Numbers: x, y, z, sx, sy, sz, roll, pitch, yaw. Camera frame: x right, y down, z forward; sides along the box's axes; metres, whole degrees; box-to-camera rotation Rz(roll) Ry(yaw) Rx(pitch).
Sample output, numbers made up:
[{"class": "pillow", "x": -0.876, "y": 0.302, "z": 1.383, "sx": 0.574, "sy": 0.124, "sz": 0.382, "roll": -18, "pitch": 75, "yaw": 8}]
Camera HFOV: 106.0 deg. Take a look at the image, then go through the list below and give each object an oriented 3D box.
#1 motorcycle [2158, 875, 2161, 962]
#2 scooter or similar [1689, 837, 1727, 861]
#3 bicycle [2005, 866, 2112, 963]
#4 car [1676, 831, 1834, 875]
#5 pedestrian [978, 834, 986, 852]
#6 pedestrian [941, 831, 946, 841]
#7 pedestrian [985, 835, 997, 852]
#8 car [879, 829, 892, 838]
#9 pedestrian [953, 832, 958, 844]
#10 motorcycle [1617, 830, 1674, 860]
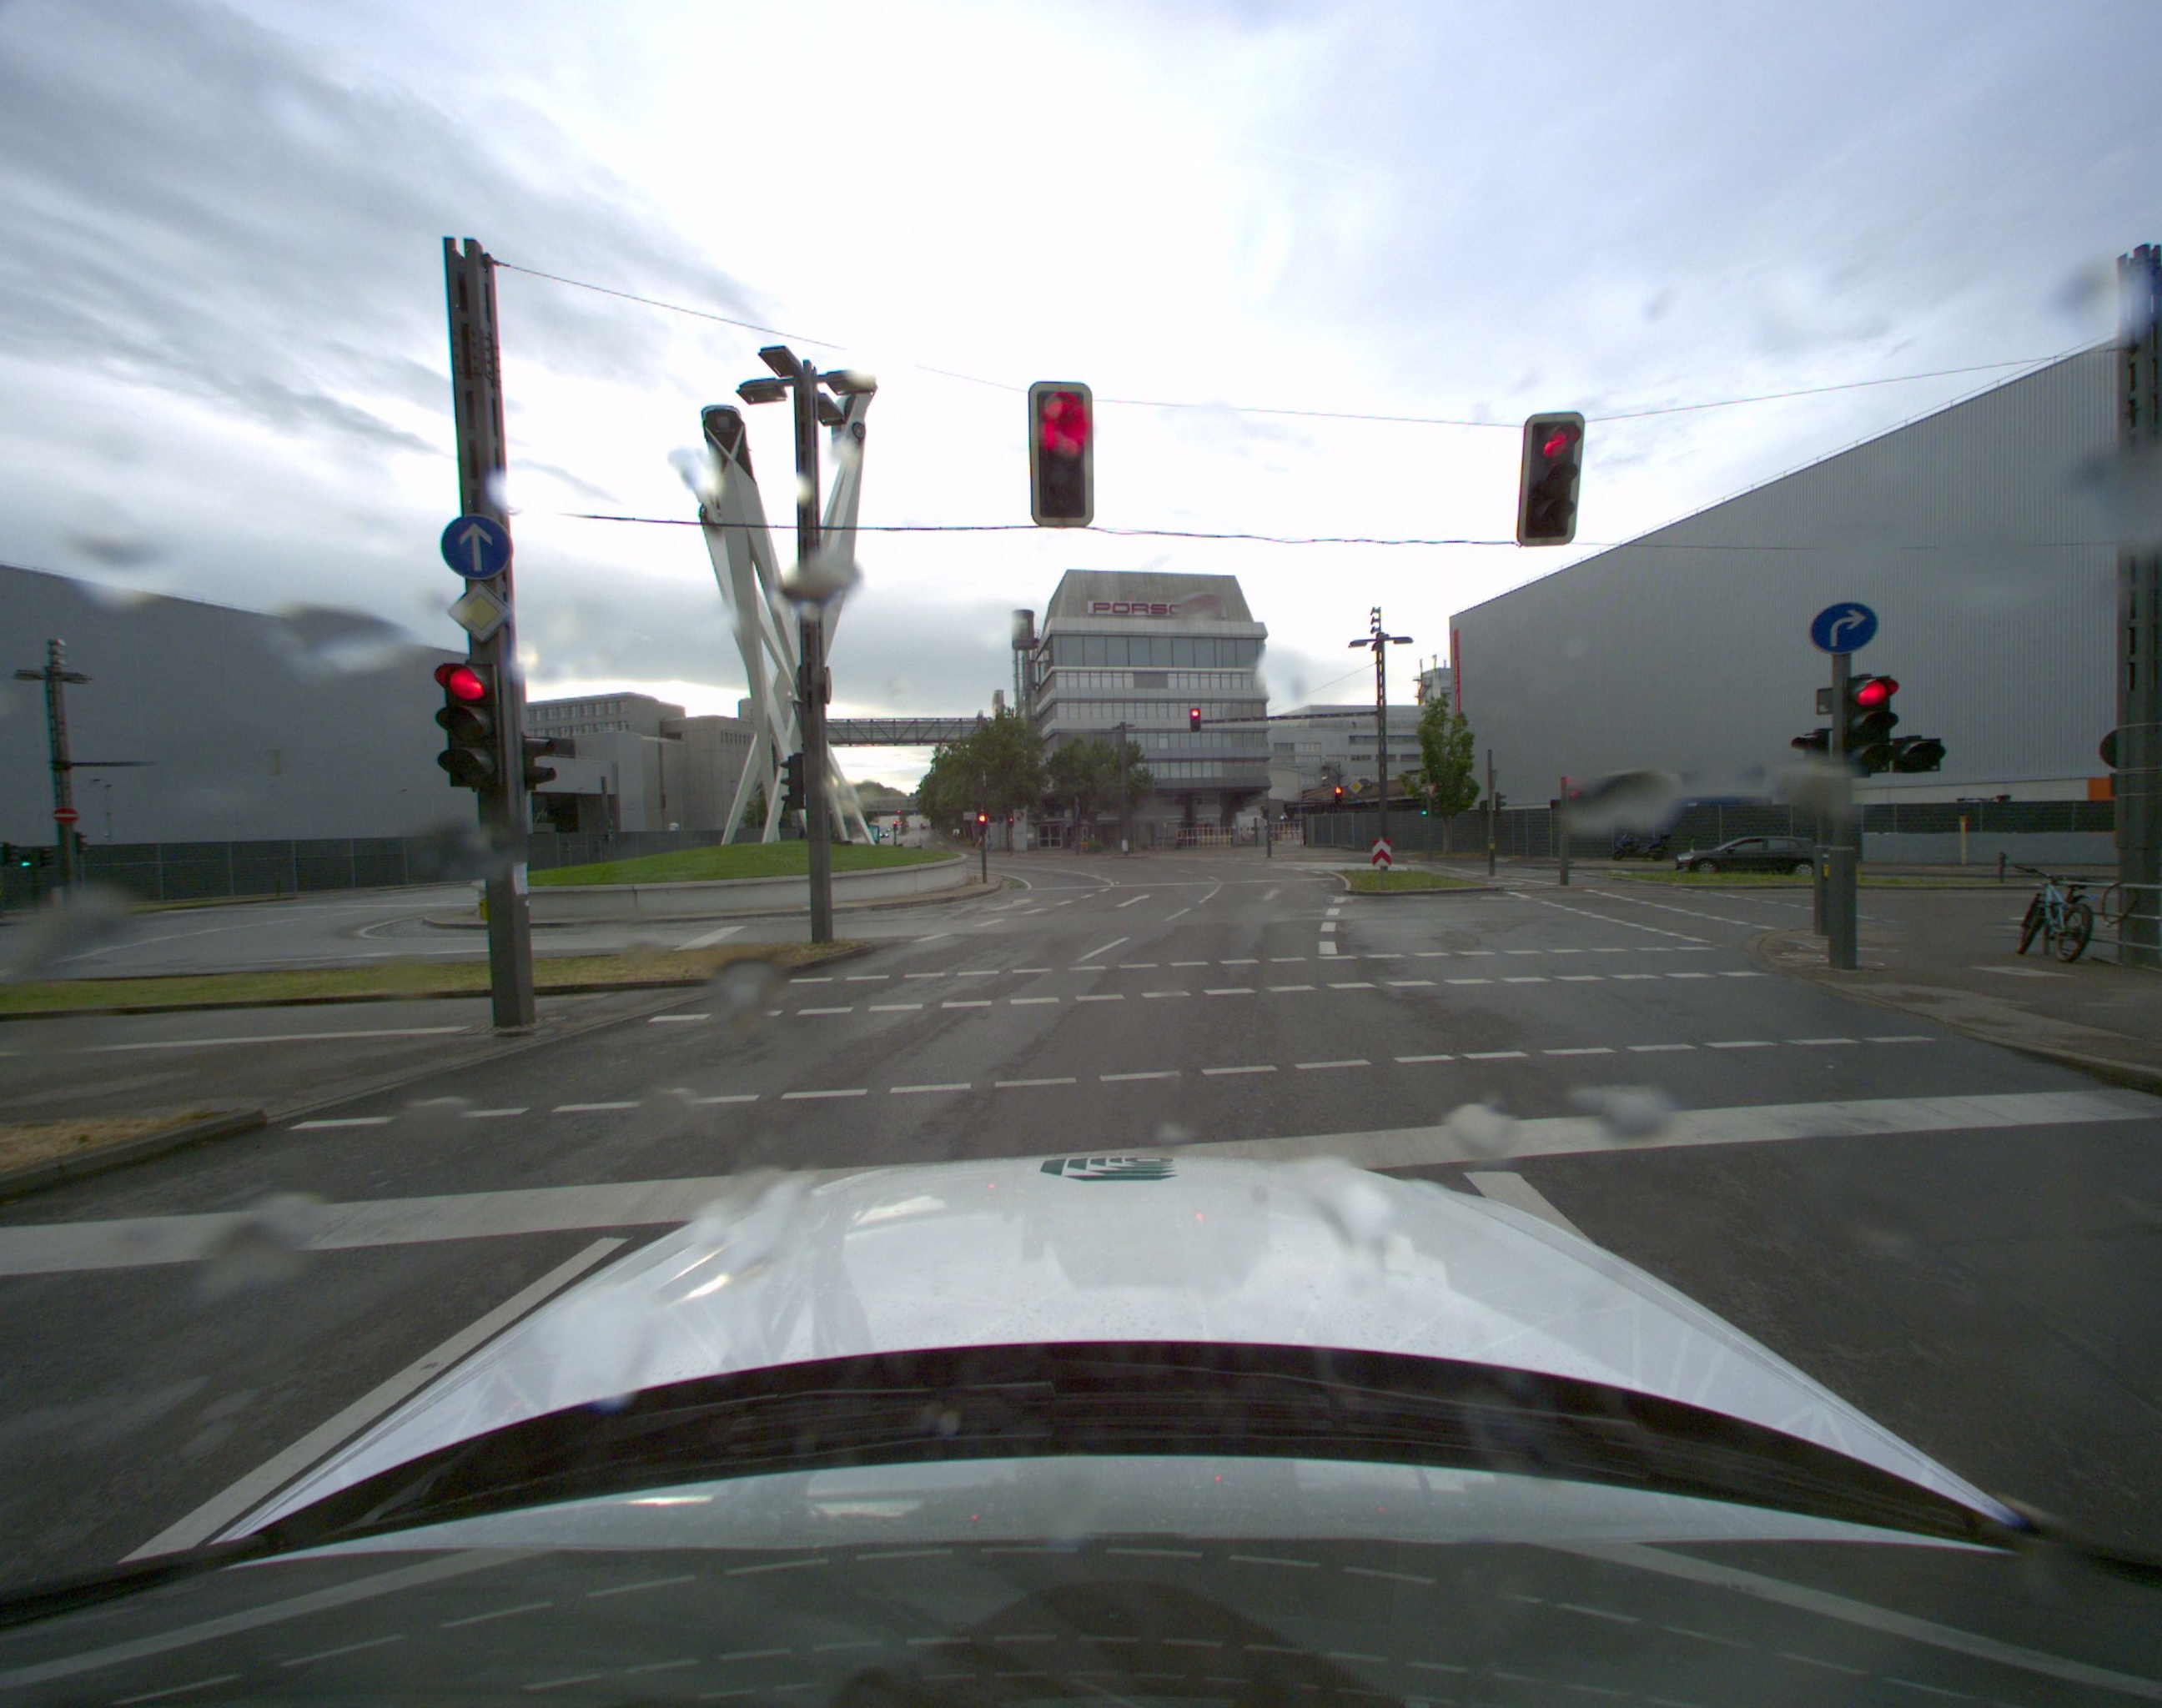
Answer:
[{"class": "motorcycle", "x": 15.200, "y": 0.835, "z": 10.309, "sx": 2.074, "sy": 1.145, "sz": 0.490, "roll": 0, "pitch": -1, "yaw": 11}, {"class": "scooter or similar", "x": 27.528, "y": -0.221, "z": 35.755, "sx": 0.387, "sy": 1.028, "sz": 1.259, "roll": -2, "pitch": 2, "yaw": -29}, {"class": "bicycle", "x": 12.569, "y": 0.729, "z": 10.524, "sx": 0.416, "sy": 1.130, "sz": 2.086, "roll": -1, "pitch": -1, "yaw": 37}, {"class": "car", "x": 22.846, "y": -0.054, "z": 27.804, "sx": 3.949, "sy": 1.425, "sz": 1.732, "roll": 0, "pitch": 1, "yaw": 31}, {"class": "pedestrian", "x": -9.020, "y": -0.994, "z": 74.070, "sx": 0.708, "sy": 1.591, "sz": 0.839, "roll": -2, "pitch": 2, "yaw": -7}, {"class": "pedestrian", "x": -28.132, "y": -3.619, "z": 167.003, "sx": 0.761, "sy": 2.013, "sz": 0.693, "roll": -1, "pitch": 1, "yaw": 5}, {"class": "pedestrian", "x": -8.131, "y": -0.924, "z": 73.332, "sx": 0.835, "sy": 1.520, "sz": 0.835, "roll": -3, "pitch": 2, "yaw": -23}, {"class": "car", "x": -47.003, "y": -4.949, "z": 195.723, "sx": 1.986, "sy": 2.014, "sz": 4.001, "roll": 0, "pitch": -1, "yaw": 2}, {"class": "pedestrian", "x": -18.207, "y": -2.300, "z": 118.497, "sx": 0.712, "sy": 1.740, "sz": 0.757, "roll": 0, "pitch": -1, "yaw": -12}, {"class": "motorcycle", "x": 25.579, "y": -0.403, "z": 36.950, "sx": 2.074, "sy": 1.310, "sz": 0.659, "roll": 0, "pitch": 2, "yaw": 27}]
